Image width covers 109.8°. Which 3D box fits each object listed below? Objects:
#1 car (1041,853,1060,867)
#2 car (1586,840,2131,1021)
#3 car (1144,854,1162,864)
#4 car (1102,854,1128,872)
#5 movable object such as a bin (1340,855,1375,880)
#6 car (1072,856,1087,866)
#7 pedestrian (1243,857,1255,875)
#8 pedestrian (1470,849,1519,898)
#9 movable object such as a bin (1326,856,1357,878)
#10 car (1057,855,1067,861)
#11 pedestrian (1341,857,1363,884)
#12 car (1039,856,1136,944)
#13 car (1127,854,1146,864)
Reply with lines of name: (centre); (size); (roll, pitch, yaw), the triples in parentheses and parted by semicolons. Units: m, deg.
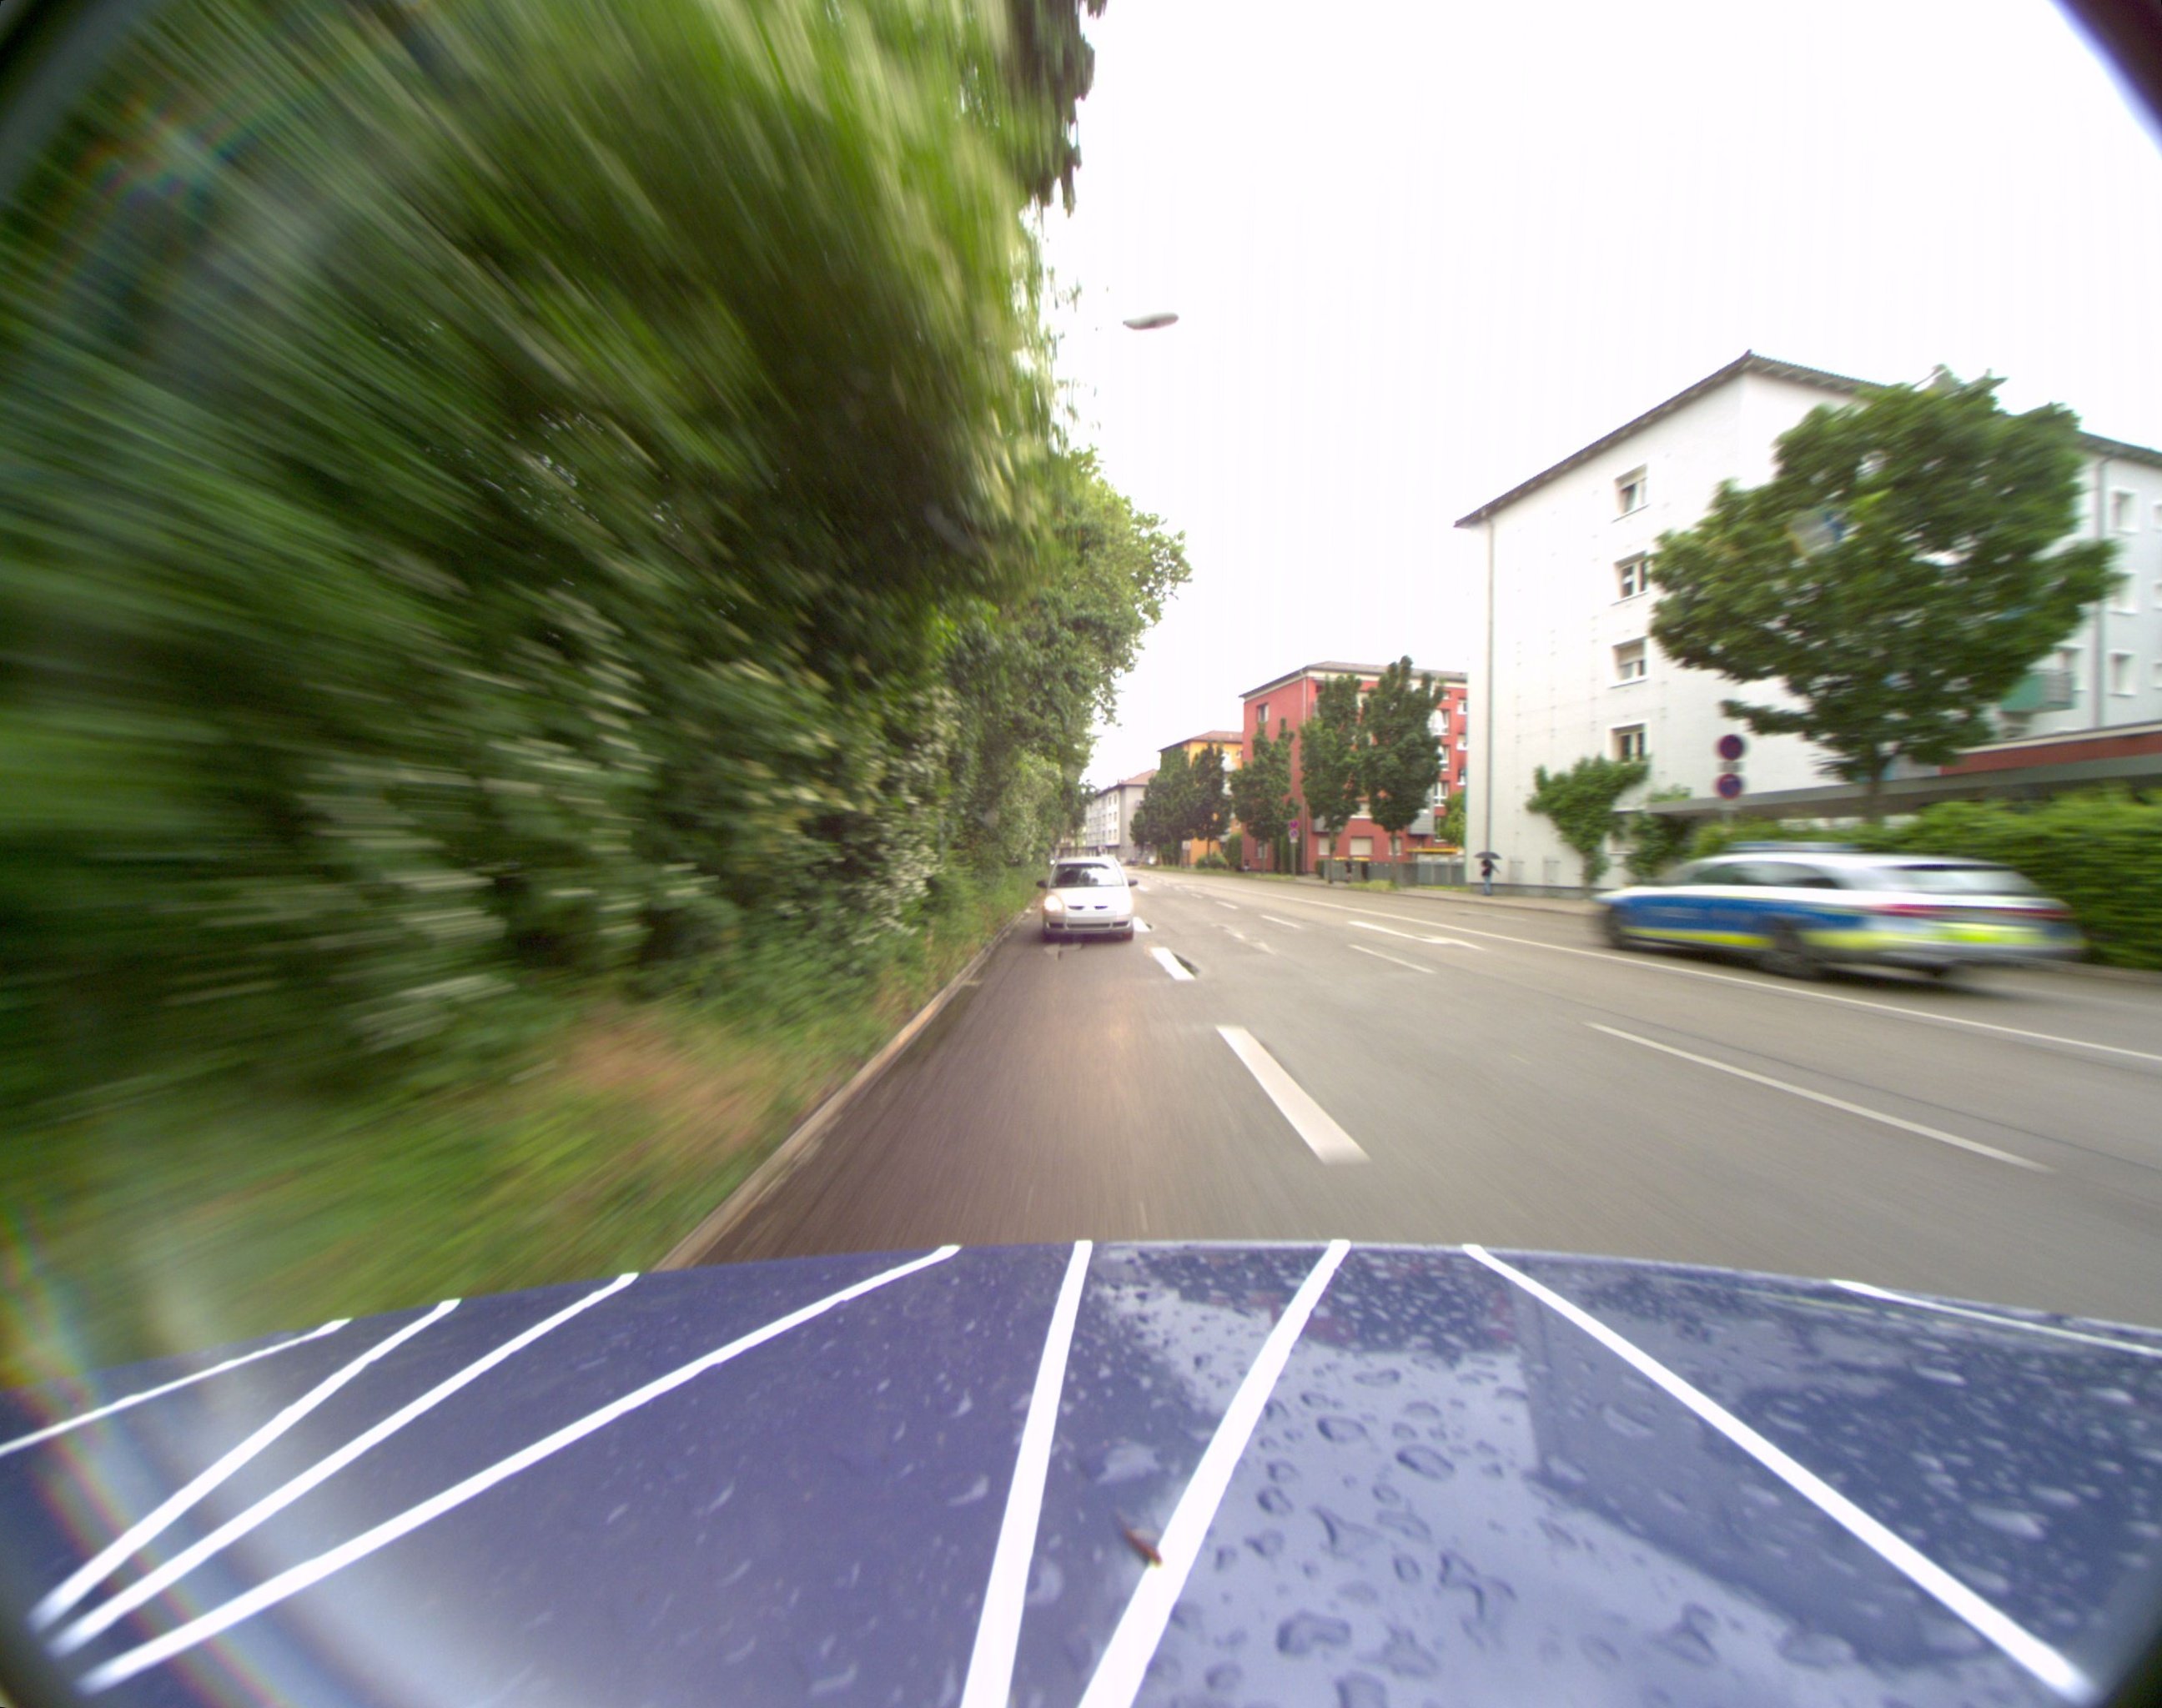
car: (-4.455, 0.858, 110.437); (2.000, 1.815, 3.996); (-2, 1, -11)
car: (9.132, 0.733, 9.762); (1.999, 1.739, 4.806); (1, 0, -1)
car: (11.355, 0.794, 120.311); (1.736, 1.516, 4.224); (1, 0, -10)
car: (3.050, 0.830, 69.409); (1.737, 1.590, 3.997); (0, 0, -7)
movable object such as a bin: (16.780, 0.795, 46.241); (1.219, 1.476, 2.086); (0, 0, -5)
car: (-0.269, 1.089, 128.106); (1.880, 1.593, 4.460); (2, 0, -9)
pedestrian: (13.594, 0.949, 61.336); (0.673, 1.441, 0.835); (1, 0, -9)
pedestrian: (15.496, 0.726, 28.513); (1.137, 1.793, 1.262); (0, 0, -3)
movable object such as a bin: (16.582, 0.825, 48.409); (1.161, 1.323, 1.965); (0, 0, -5)
car: (-3.993, 0.832, 159.113); (1.549, 1.369, 3.445); (1, -1, -11)
pedestrian: (14.889, 0.900, 41.771); (0.694, 1.508, 1.069); (1, 0, -9)
car: (0.149, 0.847, 15.989); (1.755, 1.586, 4.169); (0, 0, 1)
car: (8.770, 0.793, 119.715); (1.857, 1.477, 4.630); (-2, 1, -10)
